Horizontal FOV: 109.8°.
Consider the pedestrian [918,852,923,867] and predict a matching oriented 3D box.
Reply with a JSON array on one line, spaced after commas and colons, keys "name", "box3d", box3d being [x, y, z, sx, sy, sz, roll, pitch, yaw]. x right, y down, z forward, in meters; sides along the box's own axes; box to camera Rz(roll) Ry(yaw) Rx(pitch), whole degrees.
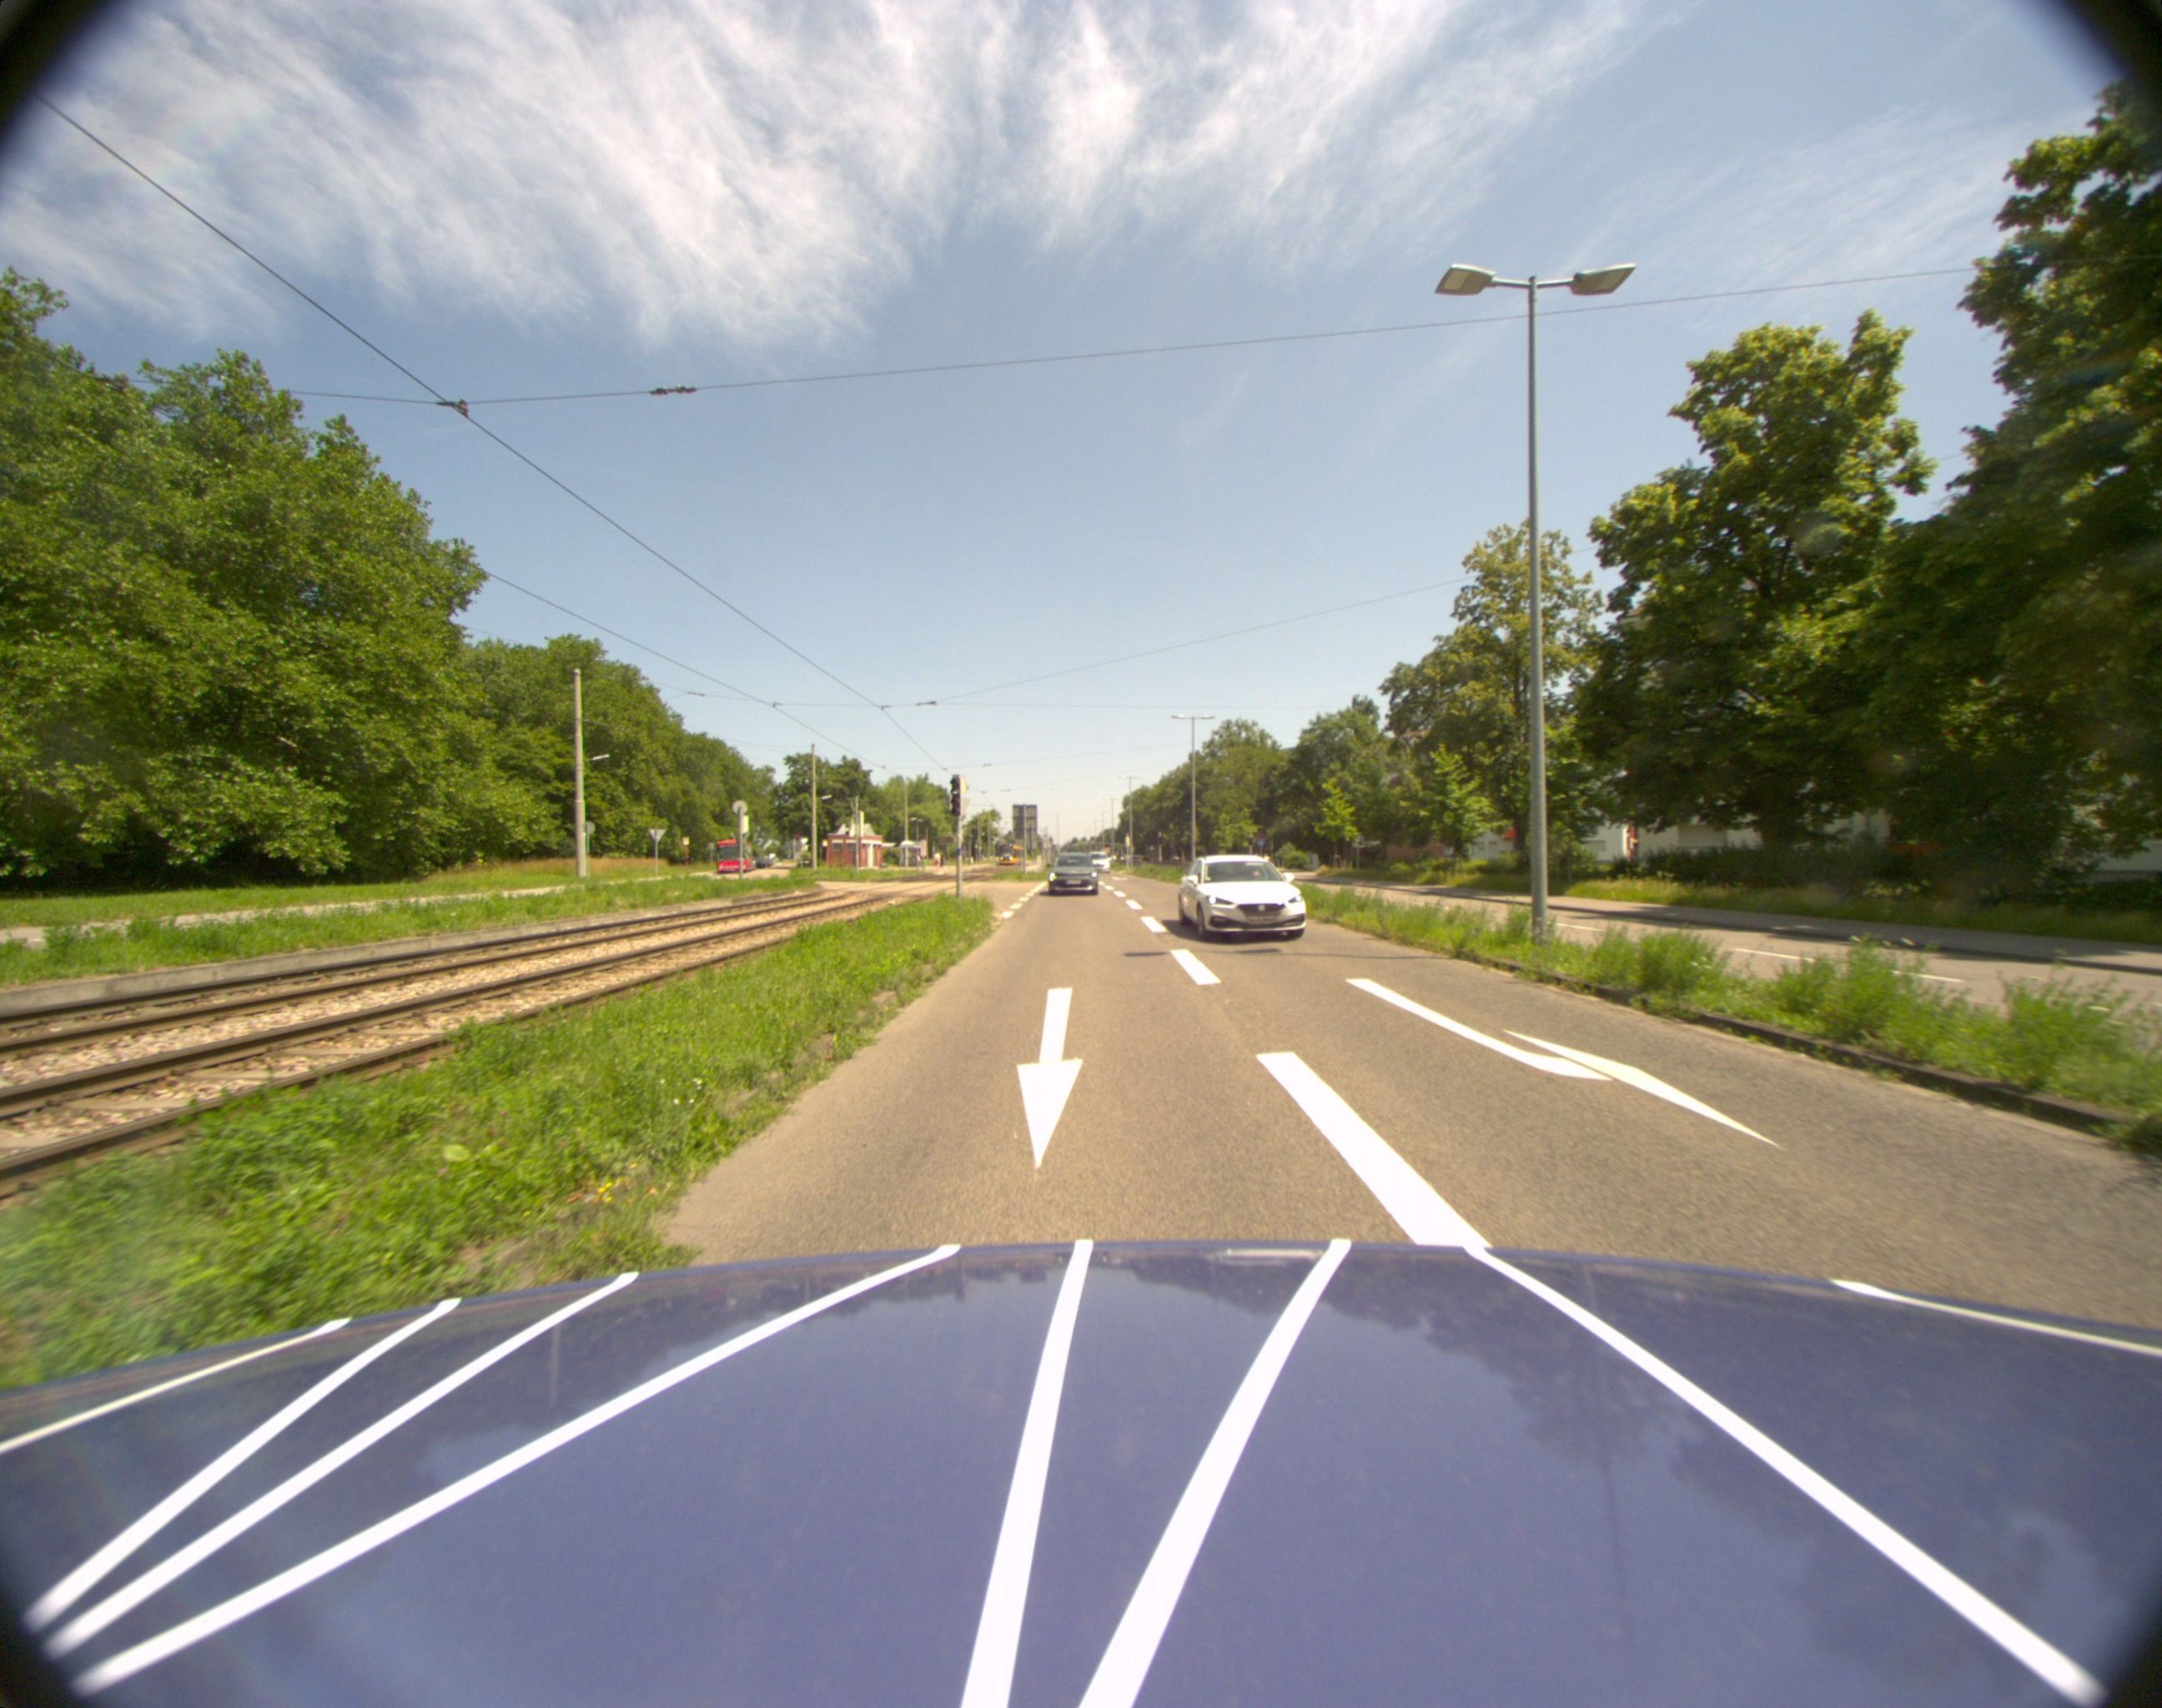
[{"name": "pedestrian", "box3d": [-19.043, 0.619, 90.078, 0.382, 1.764, 0.740, 0, 1, 2]}]

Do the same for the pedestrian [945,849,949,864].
[{"name": "pedestrian", "box3d": [-15.125, 0.302, 85.767, 0.361, 1.636, 0.445, 0, 0, 2]}]

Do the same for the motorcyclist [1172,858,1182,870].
[{"name": "motorcyclist", "box3d": [11.186, 1.119, 88.430, 0.738, 1.395, 1.512, 0, 0, -6]}]

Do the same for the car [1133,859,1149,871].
[{"name": "car", "box3d": [7.926, 1.477, 100.324, 1.761, 1.534, 4.160, 0, 0, -1]}]

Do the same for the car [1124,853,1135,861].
[{"name": "car", "box3d": [10.081, 0.607, 158.102, 1.826, 1.563, 4.345, 0, 0, -3]}]

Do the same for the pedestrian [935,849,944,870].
[{"name": "pedestrian", "box3d": [-12.221, 0.479, 65.444, 0.637, 1.749, 0.815, -2, 1, -14]}]

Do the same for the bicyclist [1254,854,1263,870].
[{"name": "bicyclist", "box3d": [14.643, 0.664, 62.709, 0.546, 1.338, 0.755, 0, 0, -2]}]

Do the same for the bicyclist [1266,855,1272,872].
[{"name": "bicyclist", "box3d": [15.494, 0.740, 62.537, 0.358, 1.384, 0.440, -2, 0, 2]}]

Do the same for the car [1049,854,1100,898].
[{"name": "car", "box3d": [-0.186, 0.774, 28.936, 1.788, 1.554, 4.136, 0, 0, 1]}]

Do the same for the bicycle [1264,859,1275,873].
[{"name": "bicycle", "box3d": [15.512, 0.977, 62.403, 0.555, 1.088, 1.379, -2, 1, 1]}]

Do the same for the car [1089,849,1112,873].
[{"name": "car", "box3d": [1.725, 0.604, 67.180, 1.998, 2.002, 4.000, 0, 0, 1]}]

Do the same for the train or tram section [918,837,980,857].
[{"name": "train or tram section", "box3d": [-26.103, -1.318, 149.867, 13.151, 3.628, 2.720, -1, 1, 29]}]

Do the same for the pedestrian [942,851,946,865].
[{"name": "pedestrian", "box3d": [-15.516, 0.432, 86.303, 0.361, 1.587, 0.483, 0, 1, 2]}]

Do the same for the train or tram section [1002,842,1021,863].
[{"name": "train or tram section", "box3d": [-11.244, -0.200, 123.287, 2.524, 3.303, 7.260, 0, 0, 0]}]

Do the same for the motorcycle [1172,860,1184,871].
[{"name": "motorcycle", "box3d": [11.239, 1.298, 88.167, 0.808, 1.291, 2.393, 0, 0, -6]}]

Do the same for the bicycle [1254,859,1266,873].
[{"name": "bicycle", "box3d": [14.643, 0.982, 62.138, 0.590, 1.126, 1.615, 0, 0, 0]}]

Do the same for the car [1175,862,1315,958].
[{"name": "car", "box3d": [2.900, 0.935, 14.341, 1.772, 1.460, 4.111, -2, 0, 1]}]

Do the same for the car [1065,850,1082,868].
[{"name": "car", "box3d": [-0.889, 0.575, 89.360, 1.921, 2.002, 3.999, 0, 0, -1]}]

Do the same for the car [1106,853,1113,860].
[{"name": "car", "box3d": [8.237, 0.860, 221.991, 1.998, 2.002, 4.000, 0, 0, 1]}]

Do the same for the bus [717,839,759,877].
[{"name": "bus", "box3d": [-34.144, 0.320, 76.021, 2.771, 3.419, 12.423, -2, 1, -20]}]

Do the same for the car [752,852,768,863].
[{"name": "car", "box3d": [-45.231, 0.527, 107.108, 1.890, 1.502, 3.993, 0, 0, -20]}]

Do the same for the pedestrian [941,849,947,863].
[{"name": "pedestrian", "box3d": [-17.263, 0.235, 95.672, 0.707, 1.754, 0.657, 0, 0, 1]}]
